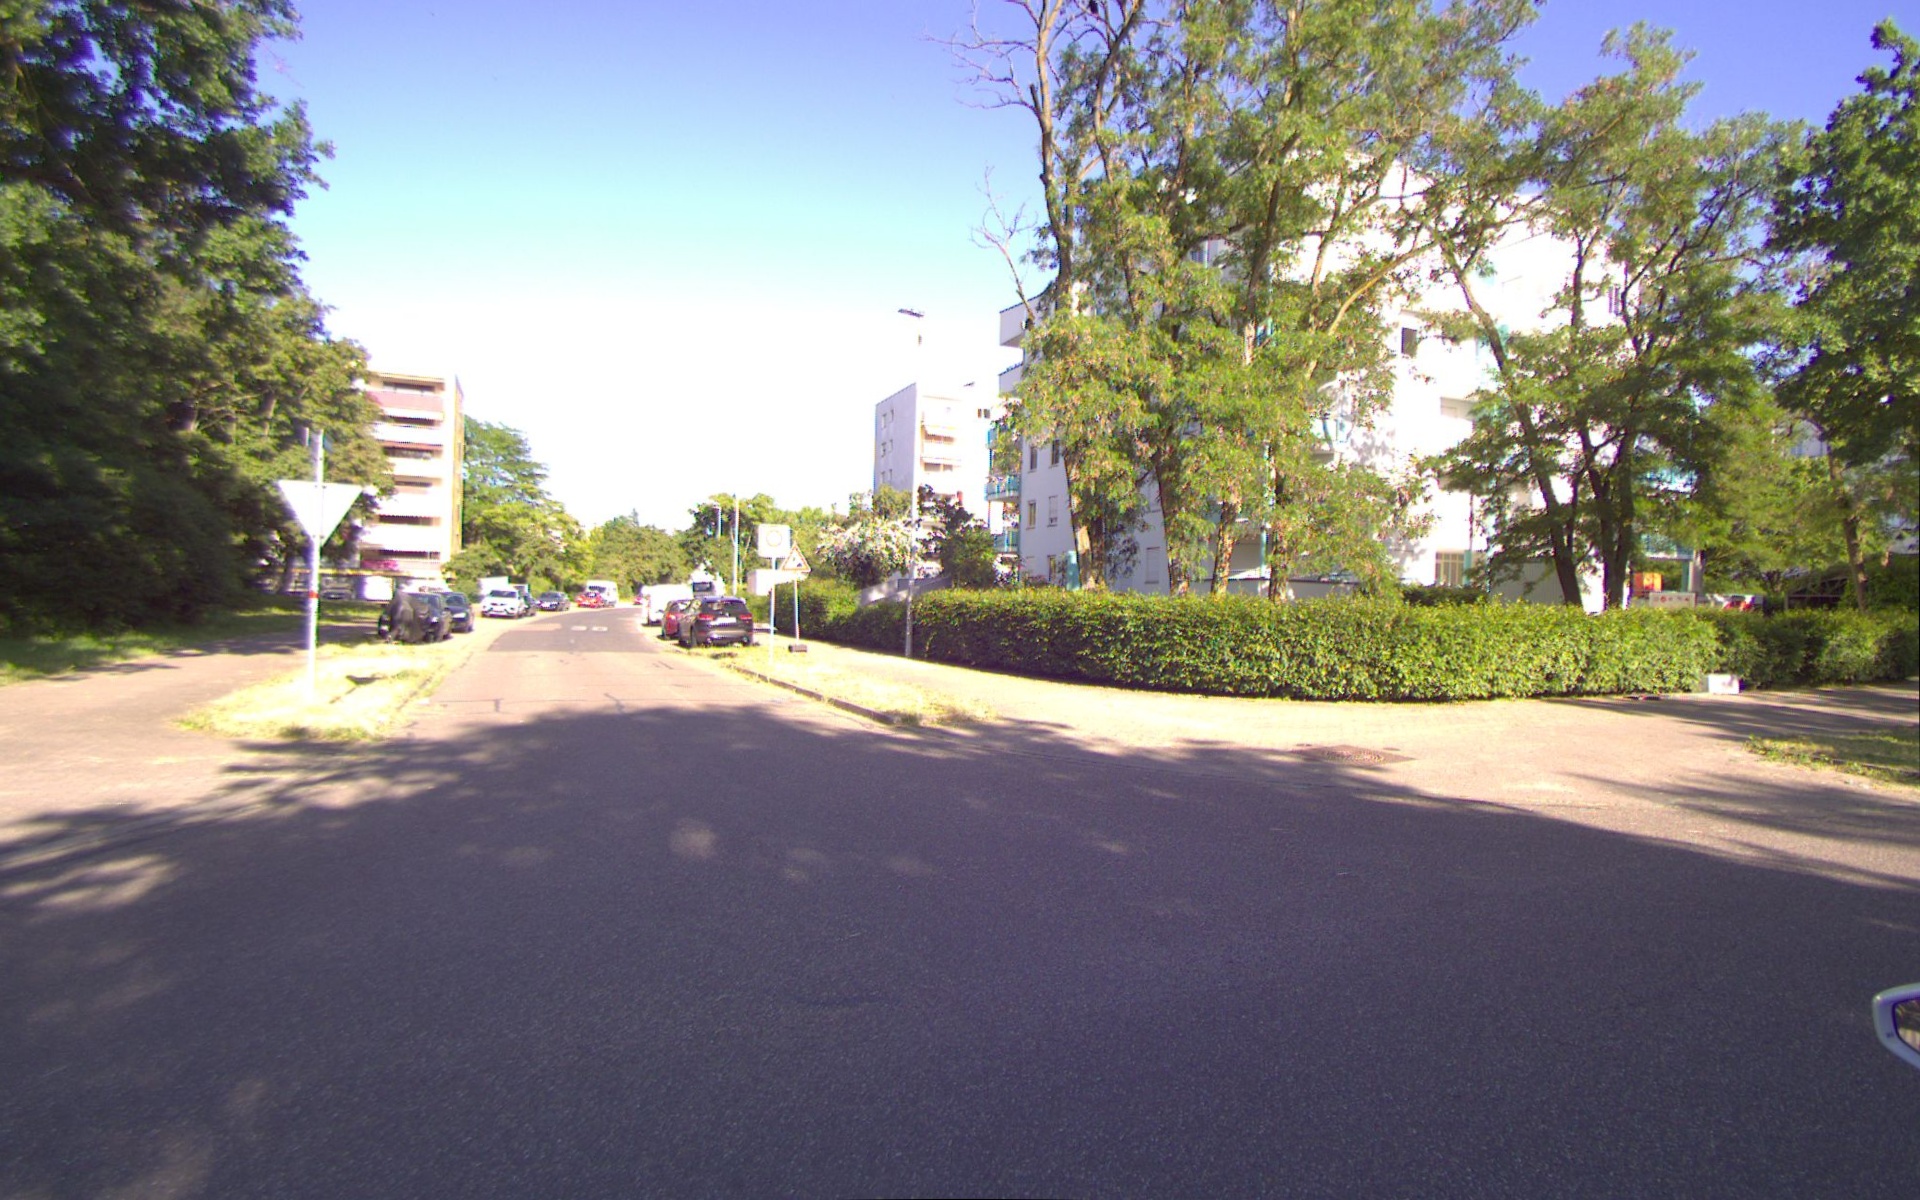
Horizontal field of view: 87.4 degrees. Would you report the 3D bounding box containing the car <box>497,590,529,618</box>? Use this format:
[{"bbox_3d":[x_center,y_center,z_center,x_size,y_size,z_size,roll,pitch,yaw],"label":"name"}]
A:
[{"bbox_3d":[-26.623,0.218,59.840,1.623,1.578,3.813,1,0,-24],"label":"car"}]

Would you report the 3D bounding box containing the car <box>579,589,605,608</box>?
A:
[{"bbox_3d":[-33.563,-0.166,91.691,1.796,1.617,3.989,2,0,-13],"label":"car"}]

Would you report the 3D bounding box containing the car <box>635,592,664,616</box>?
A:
[{"bbox_3d":[-20.178,0.224,65.235,1.499,1.486,3.056,1,0,-23],"label":"car"}]

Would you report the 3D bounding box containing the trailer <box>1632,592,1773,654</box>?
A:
[{"bbox_3d":[26.014,0.796,35.204,4.365,2.070,1.972,1,0,-22],"label":"trailer"}]

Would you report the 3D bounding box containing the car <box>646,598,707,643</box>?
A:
[{"bbox_3d":[-10.547,0.734,37.209,1.615,1.531,3.813,1,0,-24],"label":"car"}]

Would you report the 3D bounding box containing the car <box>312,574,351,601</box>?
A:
[{"bbox_3d":[-44.056,-0.878,70.484,1.738,1.767,3.813,1,0,-24],"label":"car"}]

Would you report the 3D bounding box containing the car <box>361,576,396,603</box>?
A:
[{"bbox_3d":[-41.279,-0.746,71.360,1.738,1.767,3.813,1,0,-24],"label":"car"}]

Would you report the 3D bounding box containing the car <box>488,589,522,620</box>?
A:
[{"bbox_3d":[-24.725,0.223,54.657,1.623,1.578,3.813,1,0,-24],"label":"car"}]

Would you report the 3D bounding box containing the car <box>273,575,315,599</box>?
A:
[{"bbox_3d":[-45.808,-0.880,69.130,1.775,1.547,3.813,1,0,-24],"label":"car"}]

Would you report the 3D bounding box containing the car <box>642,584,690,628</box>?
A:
[{"bbox_3d":[-14.762,0.289,50.337,1.803,2.088,3.813,1,0,-24],"label":"car"}]

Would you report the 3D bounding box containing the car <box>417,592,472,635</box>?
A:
[{"bbox_3d":[-18.572,0.455,36.282,1.538,1.410,3.567,1,0,-24],"label":"car"}]

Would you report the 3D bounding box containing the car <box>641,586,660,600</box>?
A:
[{"bbox_3d":[-38.787,-0.839,125.974,1.860,1.662,3.991,2,0,-12],"label":"car"}]

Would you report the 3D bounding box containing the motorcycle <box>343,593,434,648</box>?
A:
[{"bbox_3d":[-14.971,0.524,26.351,0.664,1.362,1.955,2,0,34],"label":"motorcycle"}]

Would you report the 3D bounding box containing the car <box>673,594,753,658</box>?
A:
[{"bbox_3d":[-7.663,0.749,30.931,1.732,1.808,3.813,1,0,-24],"label":"car"}]

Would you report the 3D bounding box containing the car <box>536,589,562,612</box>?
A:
[{"bbox_3d":[-30.217,0.046,73.745,1.623,1.578,3.813,1,0,-24],"label":"car"}]

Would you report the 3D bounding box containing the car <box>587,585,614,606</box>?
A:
[{"bbox_3d":[-34.574,-0.482,96.741,1.950,1.925,3.989,2,0,-13],"label":"car"}]

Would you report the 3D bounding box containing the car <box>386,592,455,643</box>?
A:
[{"bbox_3d":[-16.343,0.499,30.556,1.538,1.410,3.567,1,0,-24],"label":"car"}]
